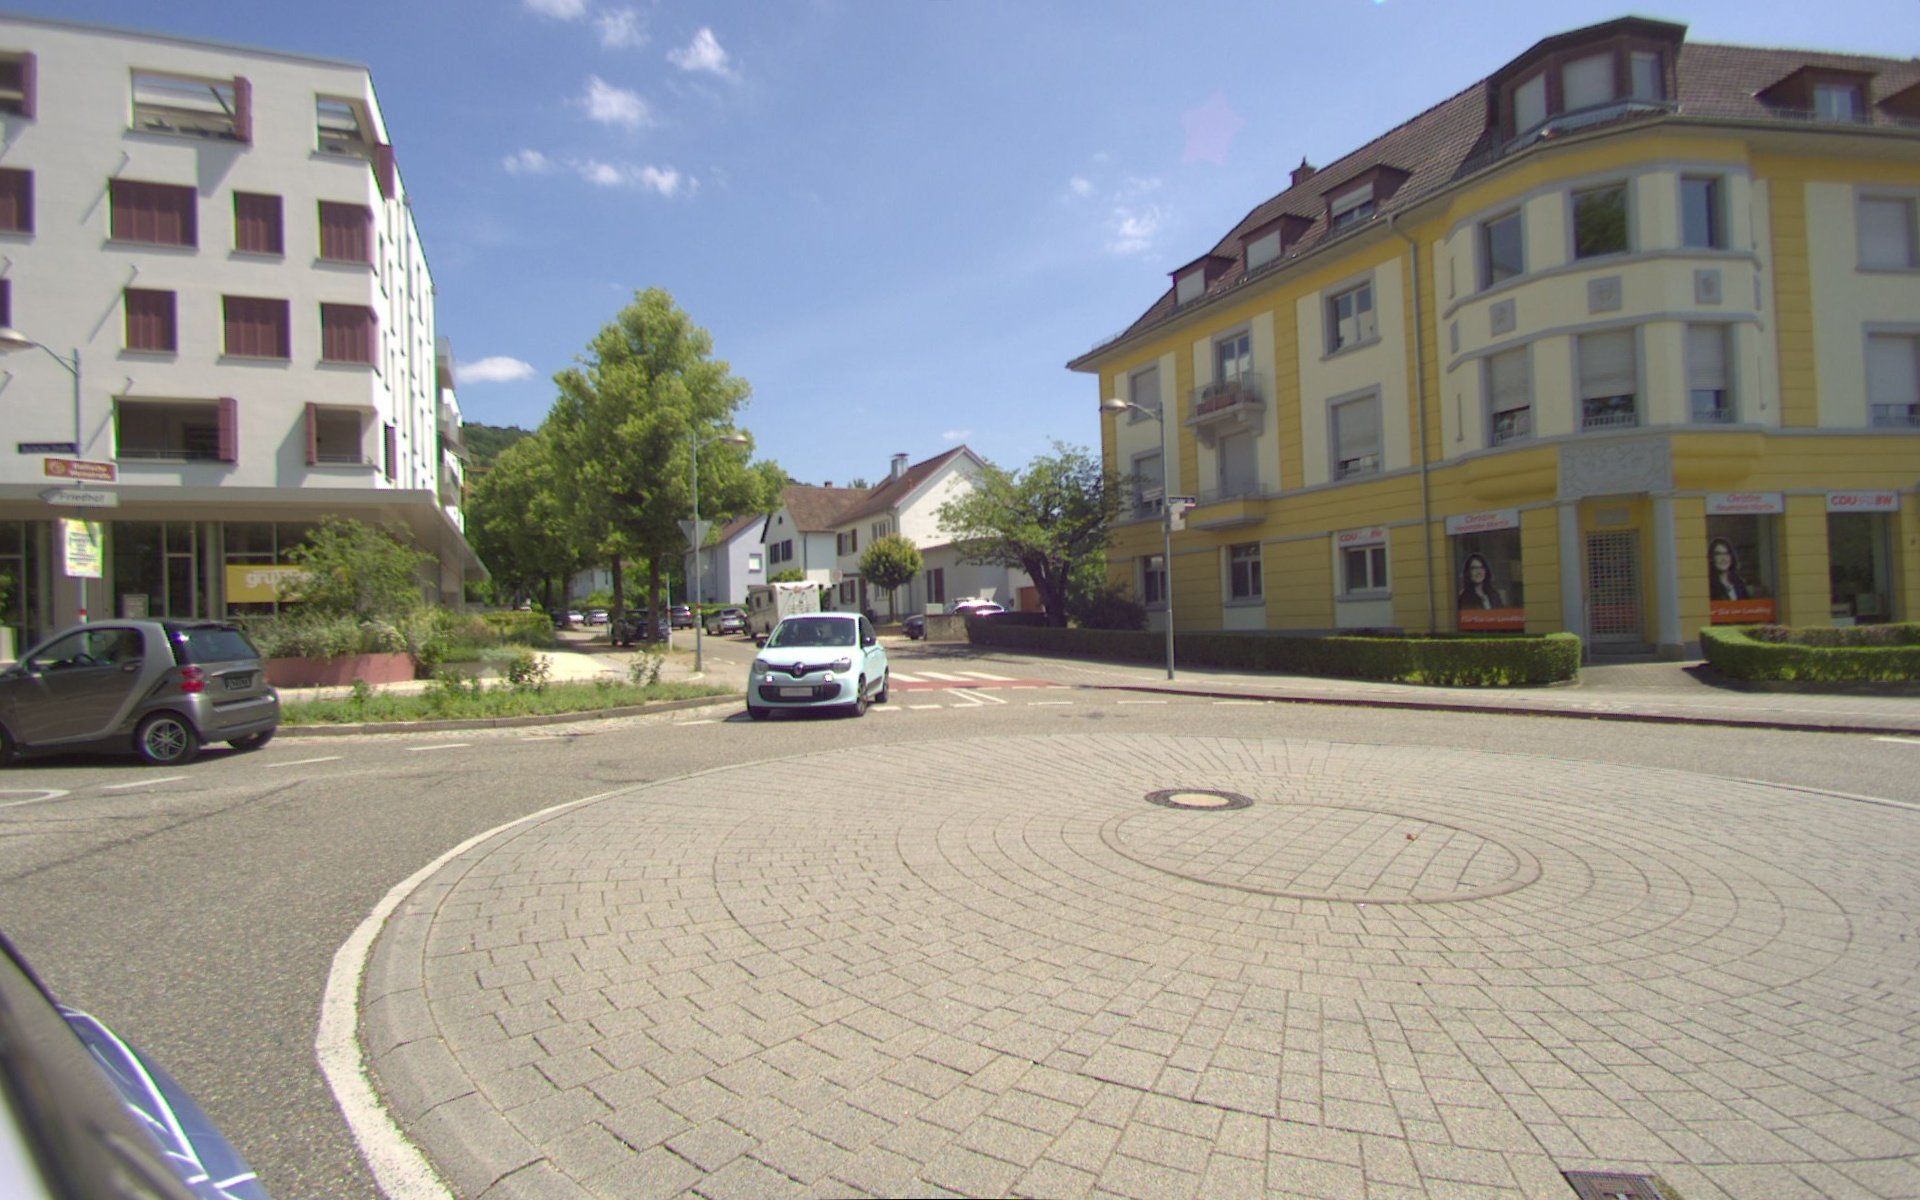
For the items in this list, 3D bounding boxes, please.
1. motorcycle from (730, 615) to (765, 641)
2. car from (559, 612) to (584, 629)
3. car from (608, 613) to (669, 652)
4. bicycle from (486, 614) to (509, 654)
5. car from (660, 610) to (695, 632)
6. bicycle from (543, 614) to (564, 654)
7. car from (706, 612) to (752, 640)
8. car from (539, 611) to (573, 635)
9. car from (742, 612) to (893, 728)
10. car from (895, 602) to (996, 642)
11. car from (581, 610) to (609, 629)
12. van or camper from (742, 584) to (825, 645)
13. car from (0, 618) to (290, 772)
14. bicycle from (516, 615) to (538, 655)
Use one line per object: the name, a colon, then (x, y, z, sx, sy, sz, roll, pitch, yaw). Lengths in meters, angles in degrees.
motorcycle: (-11.224, 1.485, 53.443, 0.734, 1.330, 2.218, -1, -1, 21)
car: (-40.930, 2.103, 106.578, 1.965, 1.679, 4.013, 0, 0, -28)
car: (-13.234, 1.306, 41.531, 1.726, 1.516, 4.005, 0, -1, -27)
bicycle: (-16.451, 1.194, 36.024, 0.560, 1.388, 1.753, 0, -1, -17)
car: (-19.773, 1.473, 70.813, 1.726, 1.516, 4.005, 0, -1, -25)
bicycle: (-14.677, 1.206, 36.540, 0.560, 1.388, 1.753, 0, -1, -17)
car: (-13.115, 1.450, 57.319, 1.726, 1.516, 4.005, 0, -1, -25)
car: (-29.999, 1.713, 75.168, 1.965, 1.679, 4.013, 0, 0, -28)
car: (-2.082, 1.009, 15.834, 1.638, 1.537, 4.160, -2, -2, 2)
car: (-0.576, 0.903, 42.196, 3.929, 1.598, 1.759, 0, -1, -39)
car: (-34.948, 1.833, 96.831, 1.965, 1.679, 4.013, 0, 0, -28)
van or camper: (-8.546, 0.695, 48.480, 2.235, 2.658, 5.905, -3, 0, -26)
car: (-9.232, 0.978, 11.086, 2.746, 1.542, 1.572, 0, -1, -5)
bicycle: (-15.512, 1.235, 36.290, 0.560, 1.388, 1.753, 0, -1, -17)
